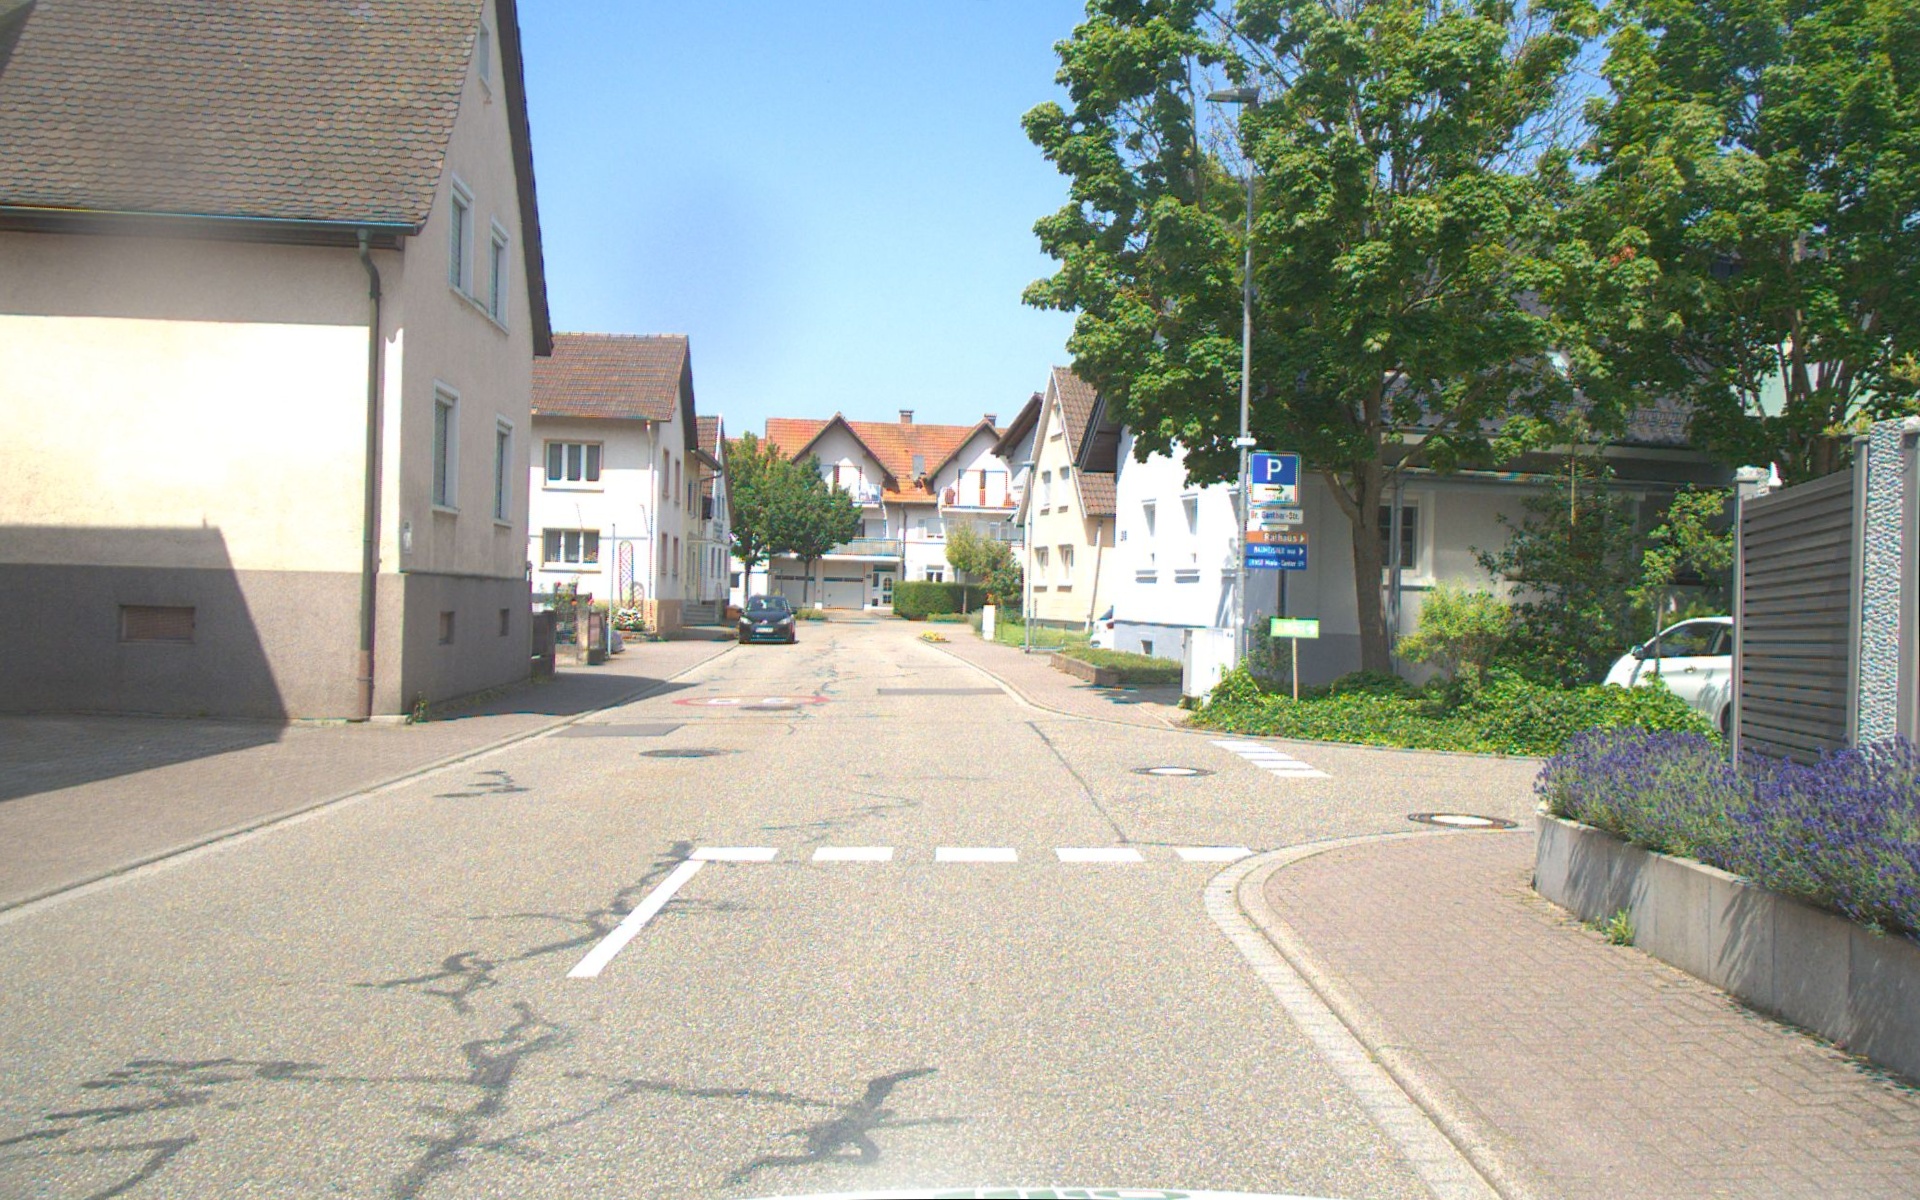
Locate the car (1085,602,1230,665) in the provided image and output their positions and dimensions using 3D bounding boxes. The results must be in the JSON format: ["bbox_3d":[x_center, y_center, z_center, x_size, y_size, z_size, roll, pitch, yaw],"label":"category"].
[{"bbox_3d":[4.457,0.754,37.466,2.988,1.369,1.418,1,-1,-11],"label":"car"}]

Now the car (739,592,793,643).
[{"bbox_3d":[-6.074,0.524,52.109,1.595,1.512,3.995,0,0,-5],"label":"car"}]

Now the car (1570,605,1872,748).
[{"bbox_3d":[9.128,0.863,20.163,1.563,1.470,3.559,1,1,-11],"label":"car"}]
